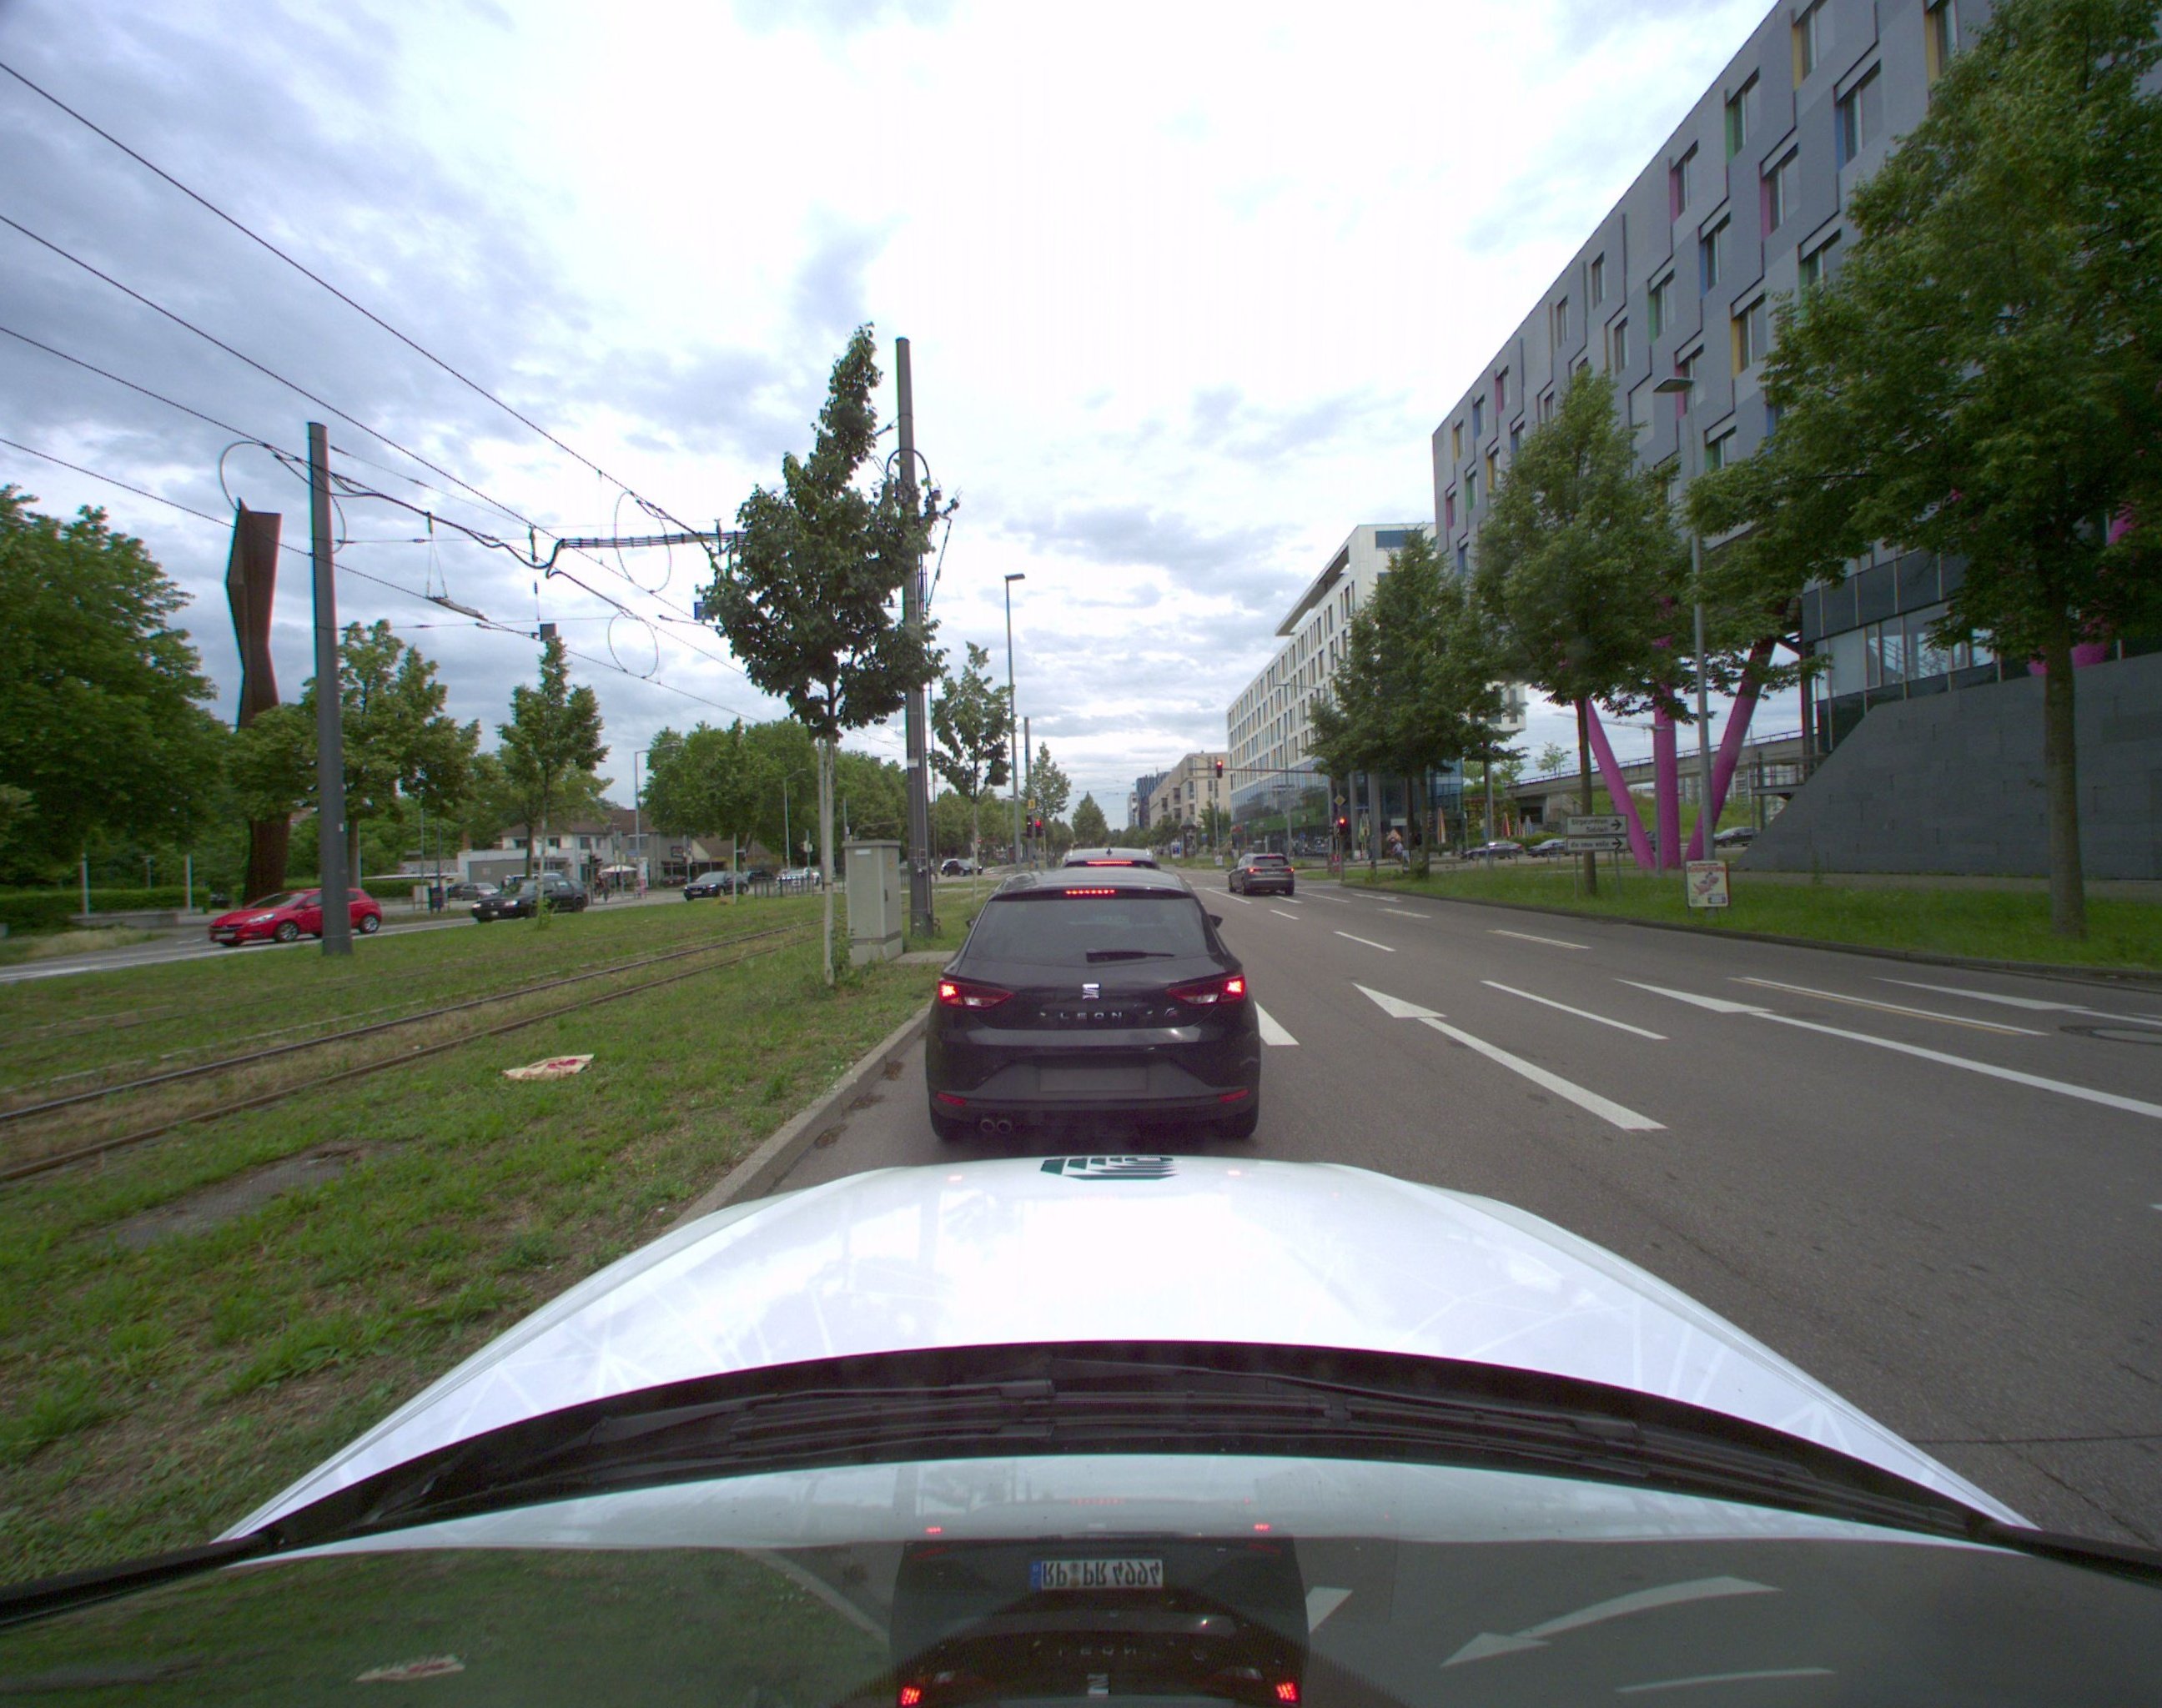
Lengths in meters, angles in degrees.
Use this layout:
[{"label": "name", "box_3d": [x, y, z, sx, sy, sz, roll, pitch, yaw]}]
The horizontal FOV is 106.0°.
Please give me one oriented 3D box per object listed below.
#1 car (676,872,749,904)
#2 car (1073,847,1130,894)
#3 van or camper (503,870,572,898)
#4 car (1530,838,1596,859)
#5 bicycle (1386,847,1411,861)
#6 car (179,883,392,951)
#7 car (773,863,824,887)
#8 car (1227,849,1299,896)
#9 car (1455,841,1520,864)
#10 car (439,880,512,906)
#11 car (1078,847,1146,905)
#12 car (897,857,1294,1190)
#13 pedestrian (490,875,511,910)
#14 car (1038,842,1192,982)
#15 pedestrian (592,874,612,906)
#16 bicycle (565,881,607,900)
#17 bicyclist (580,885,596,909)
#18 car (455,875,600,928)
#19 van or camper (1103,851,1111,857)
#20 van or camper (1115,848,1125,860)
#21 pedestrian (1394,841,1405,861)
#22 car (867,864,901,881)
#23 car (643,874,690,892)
[{"label": "car", "box_3d": [-18.850, 1.712, 41.865, 1.795, 1.377, 4.058, -2, 0, 1]}, {"label": "car", "box_3d": [0.845, 0.581, 31.274, 1.985, 1.682, 4.005, -1, 0, 4]}, {"label": "van or camper", "box_3d": [-41.623, 2.309, 62.336, 5.212, 2.013, 2.481, -2, 0, 34]}, {"label": "car", "box_3d": [37.857, -0.419, 64.047, 4.063, 1.455, 1.759, -2, 0, 3]}, {"label": "bicycle", "box_3d": [25.673, 0.010, 65.853, 1.784, 1.085, 0.618, -2, 0, 3]}, {"label": "car", "box_3d": [-23.011, 1.745, 23.832, 1.789, 1.570, 4.331, -2, 0, 3]}, {"label": "car", "box_3d": [-21.060, 1.560, 60.937, 1.805, 1.588, 5.079, -2, 0, 1]}, {"label": "car", "box_3d": [6.536, 0.624, 29.649, 1.741, 1.499, 4.271, -2, 1, 2]}, {"label": "car", "box_3d": [31.841, -0.121, 63.870, 4.233, 1.615, 1.759, -2, 0, 3]}, {"label": "car", "box_3d": [-48.293, 3.095, 65.015, 4.258, 1.816, 2.111, -2, 0, 6]}, {"label": "car", "box_3d": [1.074, 0.639, 26.203, 1.984, 1.682, 4.005, -1, 0, 5]}, {"label": "car", "box_3d": [0.103, 0.757, 5.600, 1.737, 1.417, 4.001, -1, 0, 1]}, {"label": "pedestrian", "box_3d": [-35.220, 2.331, 49.428, 0.910, 2.013, 0.942, -2, 0, -40]}, {"label": "car", "box_3d": [0.471, 0.691, 11.822, 1.796, 1.624, 4.002, -2, 0, 2]}, {"label": "pedestrian", "box_3d": [-27.776, 2.085, 47.231, 0.779, 1.832, 0.771, -2, 0, -16]}, {"label": "bicycle", "box_3d": [-35.833, 2.661, 59.011, 2.520, 1.202, 0.734, -2, 0, -25]}, {"label": "bicyclist", "box_3d": [-35.714, 3.104, 59.056, 0.854, 1.721, 0.715, -2, 0, -25]}, {"label": "car", "box_3d": [-18.976, 1.558, 28.222, 1.658, 1.426, 4.746, -4, 0, 1]}, {"label": "van or camper", "box_3d": [6.975, 0.029, 217.850, 1.986, 1.615, 4.792, -1, 1, 2]}, {"label": "van or camper", "box_3d": [8.434, -0.092, 176.934, 2.101, 2.355, 4.927, -1, 2, 2]}, {"label": "pedestrian", "box_3d": [25.731, -0.262, 65.850, 0.612, 1.604, 0.619, -2, 0, 4]}, {"label": "car", "box_3d": [-17.444, 1.624, 72.330, 1.805, 1.377, 4.270, -2, 0, 1]}, {"label": "car", "box_3d": [-47.142, 3.338, 92.717, 4.258, 1.816, 2.111, -2, 0, 6]}]
